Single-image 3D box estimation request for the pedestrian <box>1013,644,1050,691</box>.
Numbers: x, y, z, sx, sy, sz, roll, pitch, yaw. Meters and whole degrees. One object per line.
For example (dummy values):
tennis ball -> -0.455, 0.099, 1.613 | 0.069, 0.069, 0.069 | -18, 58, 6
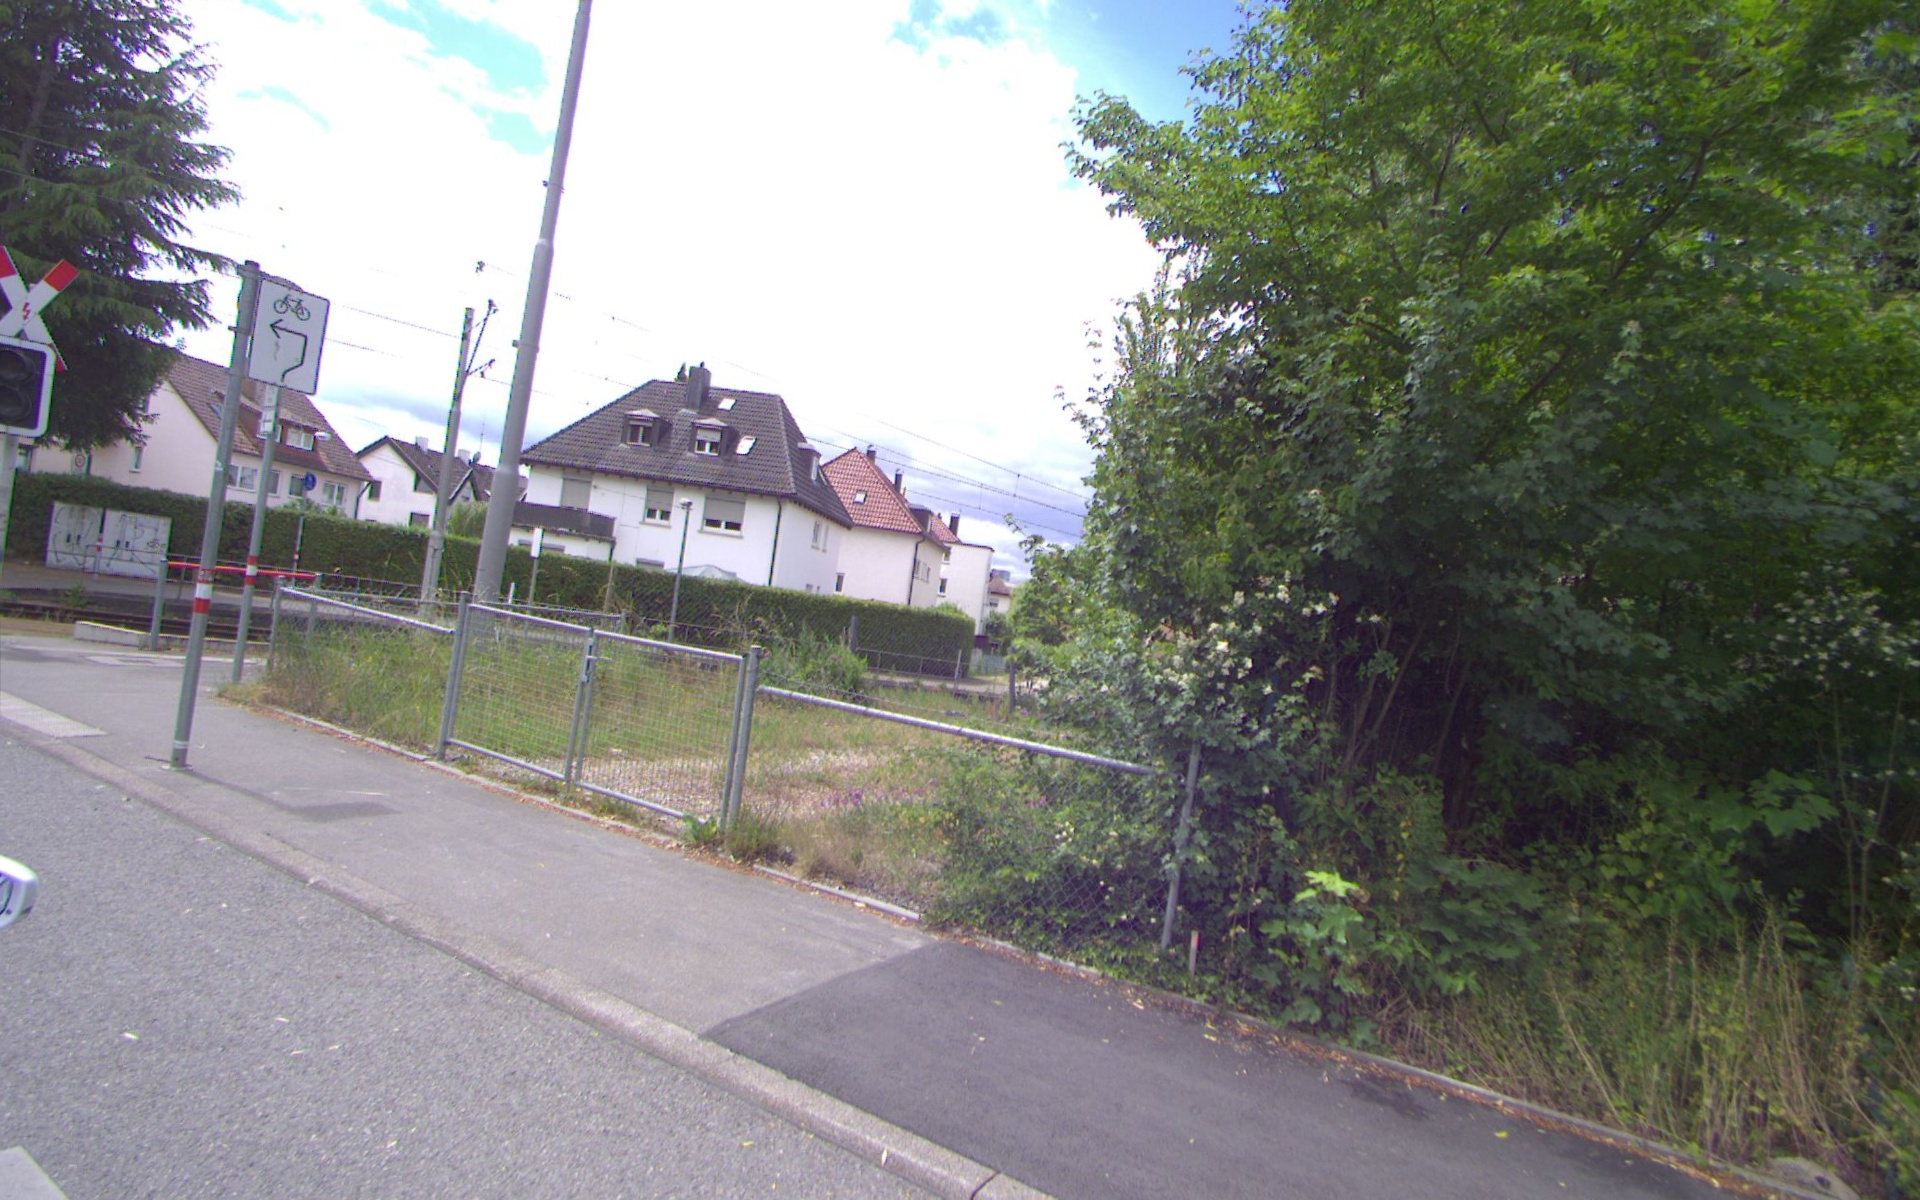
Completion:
pedestrian -> 2.836, 2.700, 40.048 | 0.910, 1.707, 0.925 | 8, -1, -31
